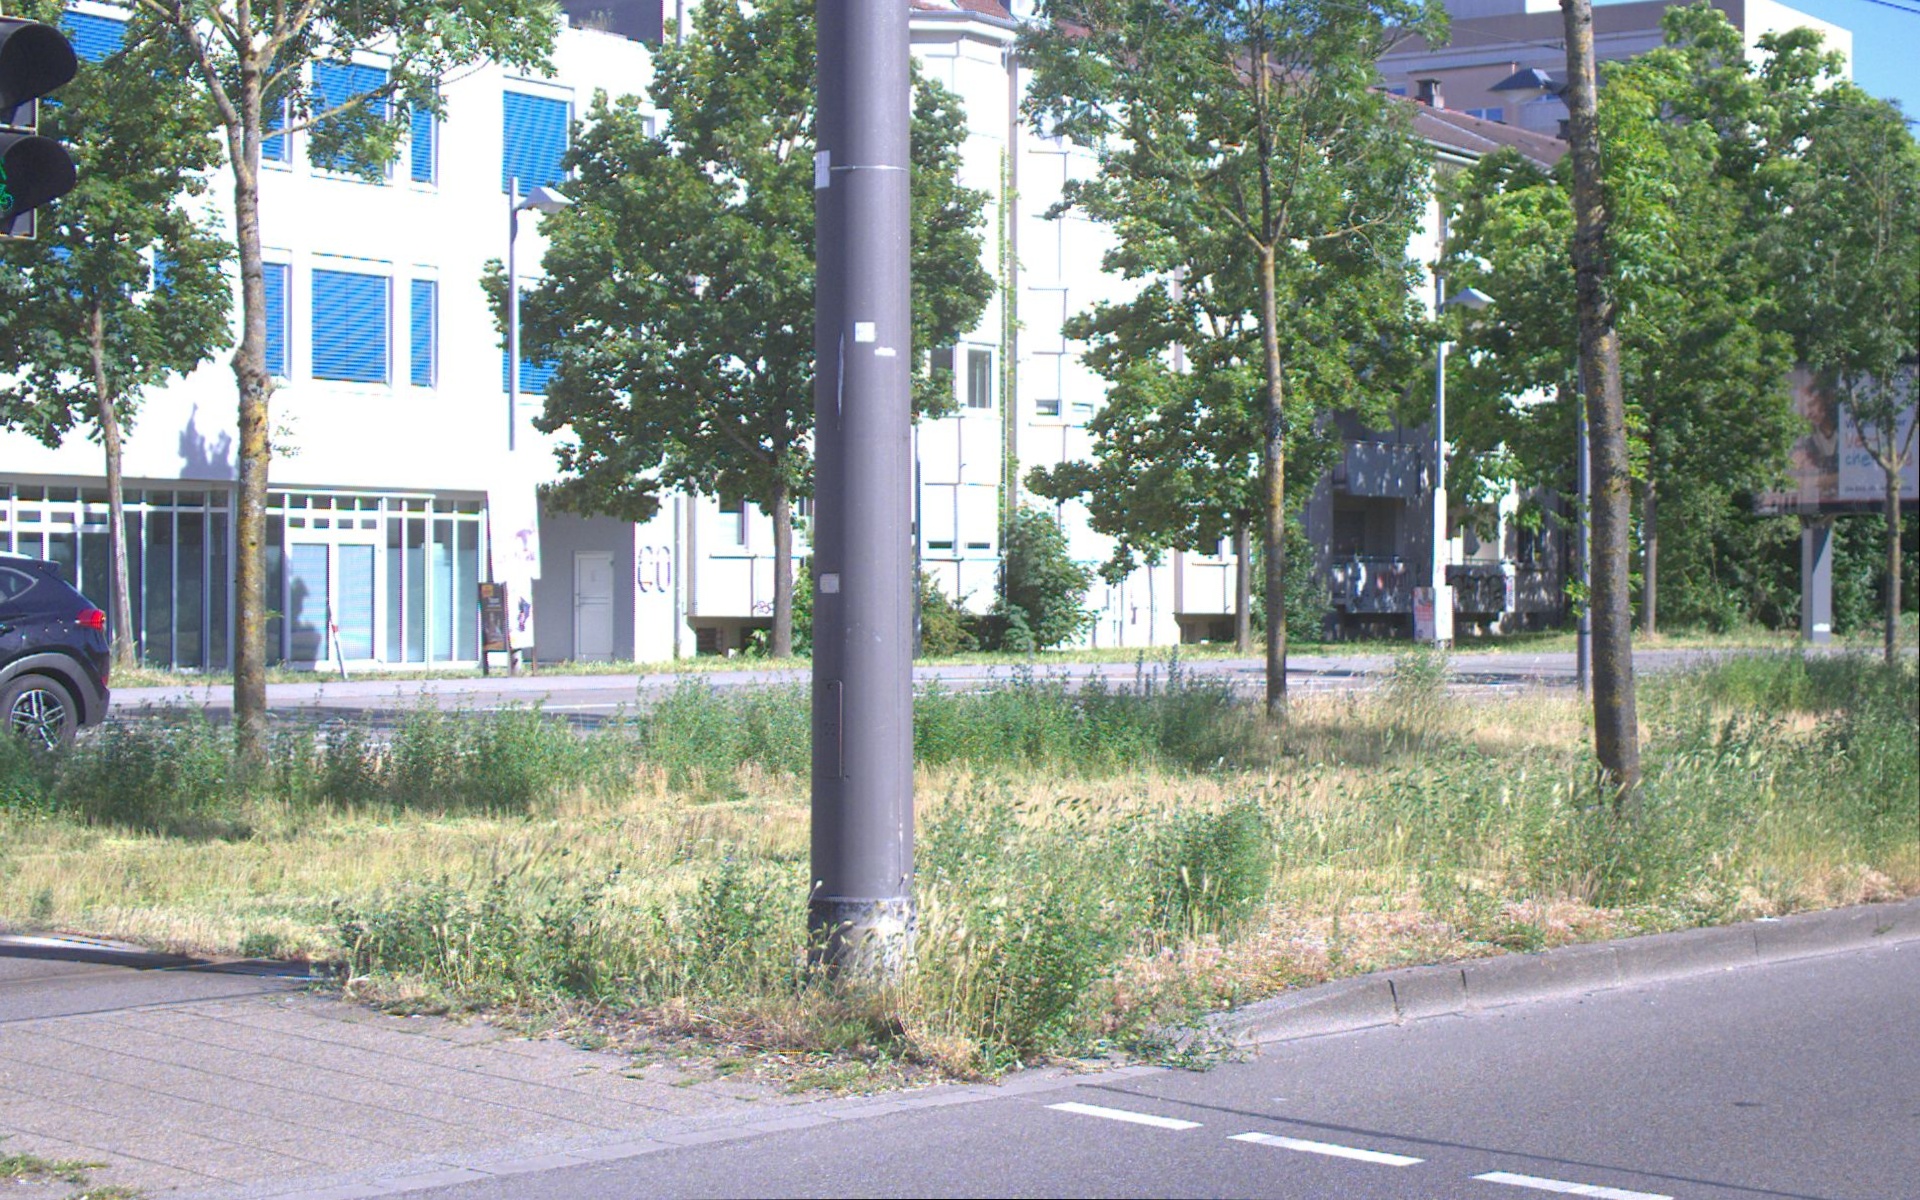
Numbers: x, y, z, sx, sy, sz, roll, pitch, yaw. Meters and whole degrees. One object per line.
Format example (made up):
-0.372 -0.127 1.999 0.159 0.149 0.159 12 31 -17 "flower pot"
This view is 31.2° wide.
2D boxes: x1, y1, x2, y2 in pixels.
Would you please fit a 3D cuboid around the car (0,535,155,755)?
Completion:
-8.348 0.326 24.983 1.999 1.604 4.504 0 1 44 "car"
